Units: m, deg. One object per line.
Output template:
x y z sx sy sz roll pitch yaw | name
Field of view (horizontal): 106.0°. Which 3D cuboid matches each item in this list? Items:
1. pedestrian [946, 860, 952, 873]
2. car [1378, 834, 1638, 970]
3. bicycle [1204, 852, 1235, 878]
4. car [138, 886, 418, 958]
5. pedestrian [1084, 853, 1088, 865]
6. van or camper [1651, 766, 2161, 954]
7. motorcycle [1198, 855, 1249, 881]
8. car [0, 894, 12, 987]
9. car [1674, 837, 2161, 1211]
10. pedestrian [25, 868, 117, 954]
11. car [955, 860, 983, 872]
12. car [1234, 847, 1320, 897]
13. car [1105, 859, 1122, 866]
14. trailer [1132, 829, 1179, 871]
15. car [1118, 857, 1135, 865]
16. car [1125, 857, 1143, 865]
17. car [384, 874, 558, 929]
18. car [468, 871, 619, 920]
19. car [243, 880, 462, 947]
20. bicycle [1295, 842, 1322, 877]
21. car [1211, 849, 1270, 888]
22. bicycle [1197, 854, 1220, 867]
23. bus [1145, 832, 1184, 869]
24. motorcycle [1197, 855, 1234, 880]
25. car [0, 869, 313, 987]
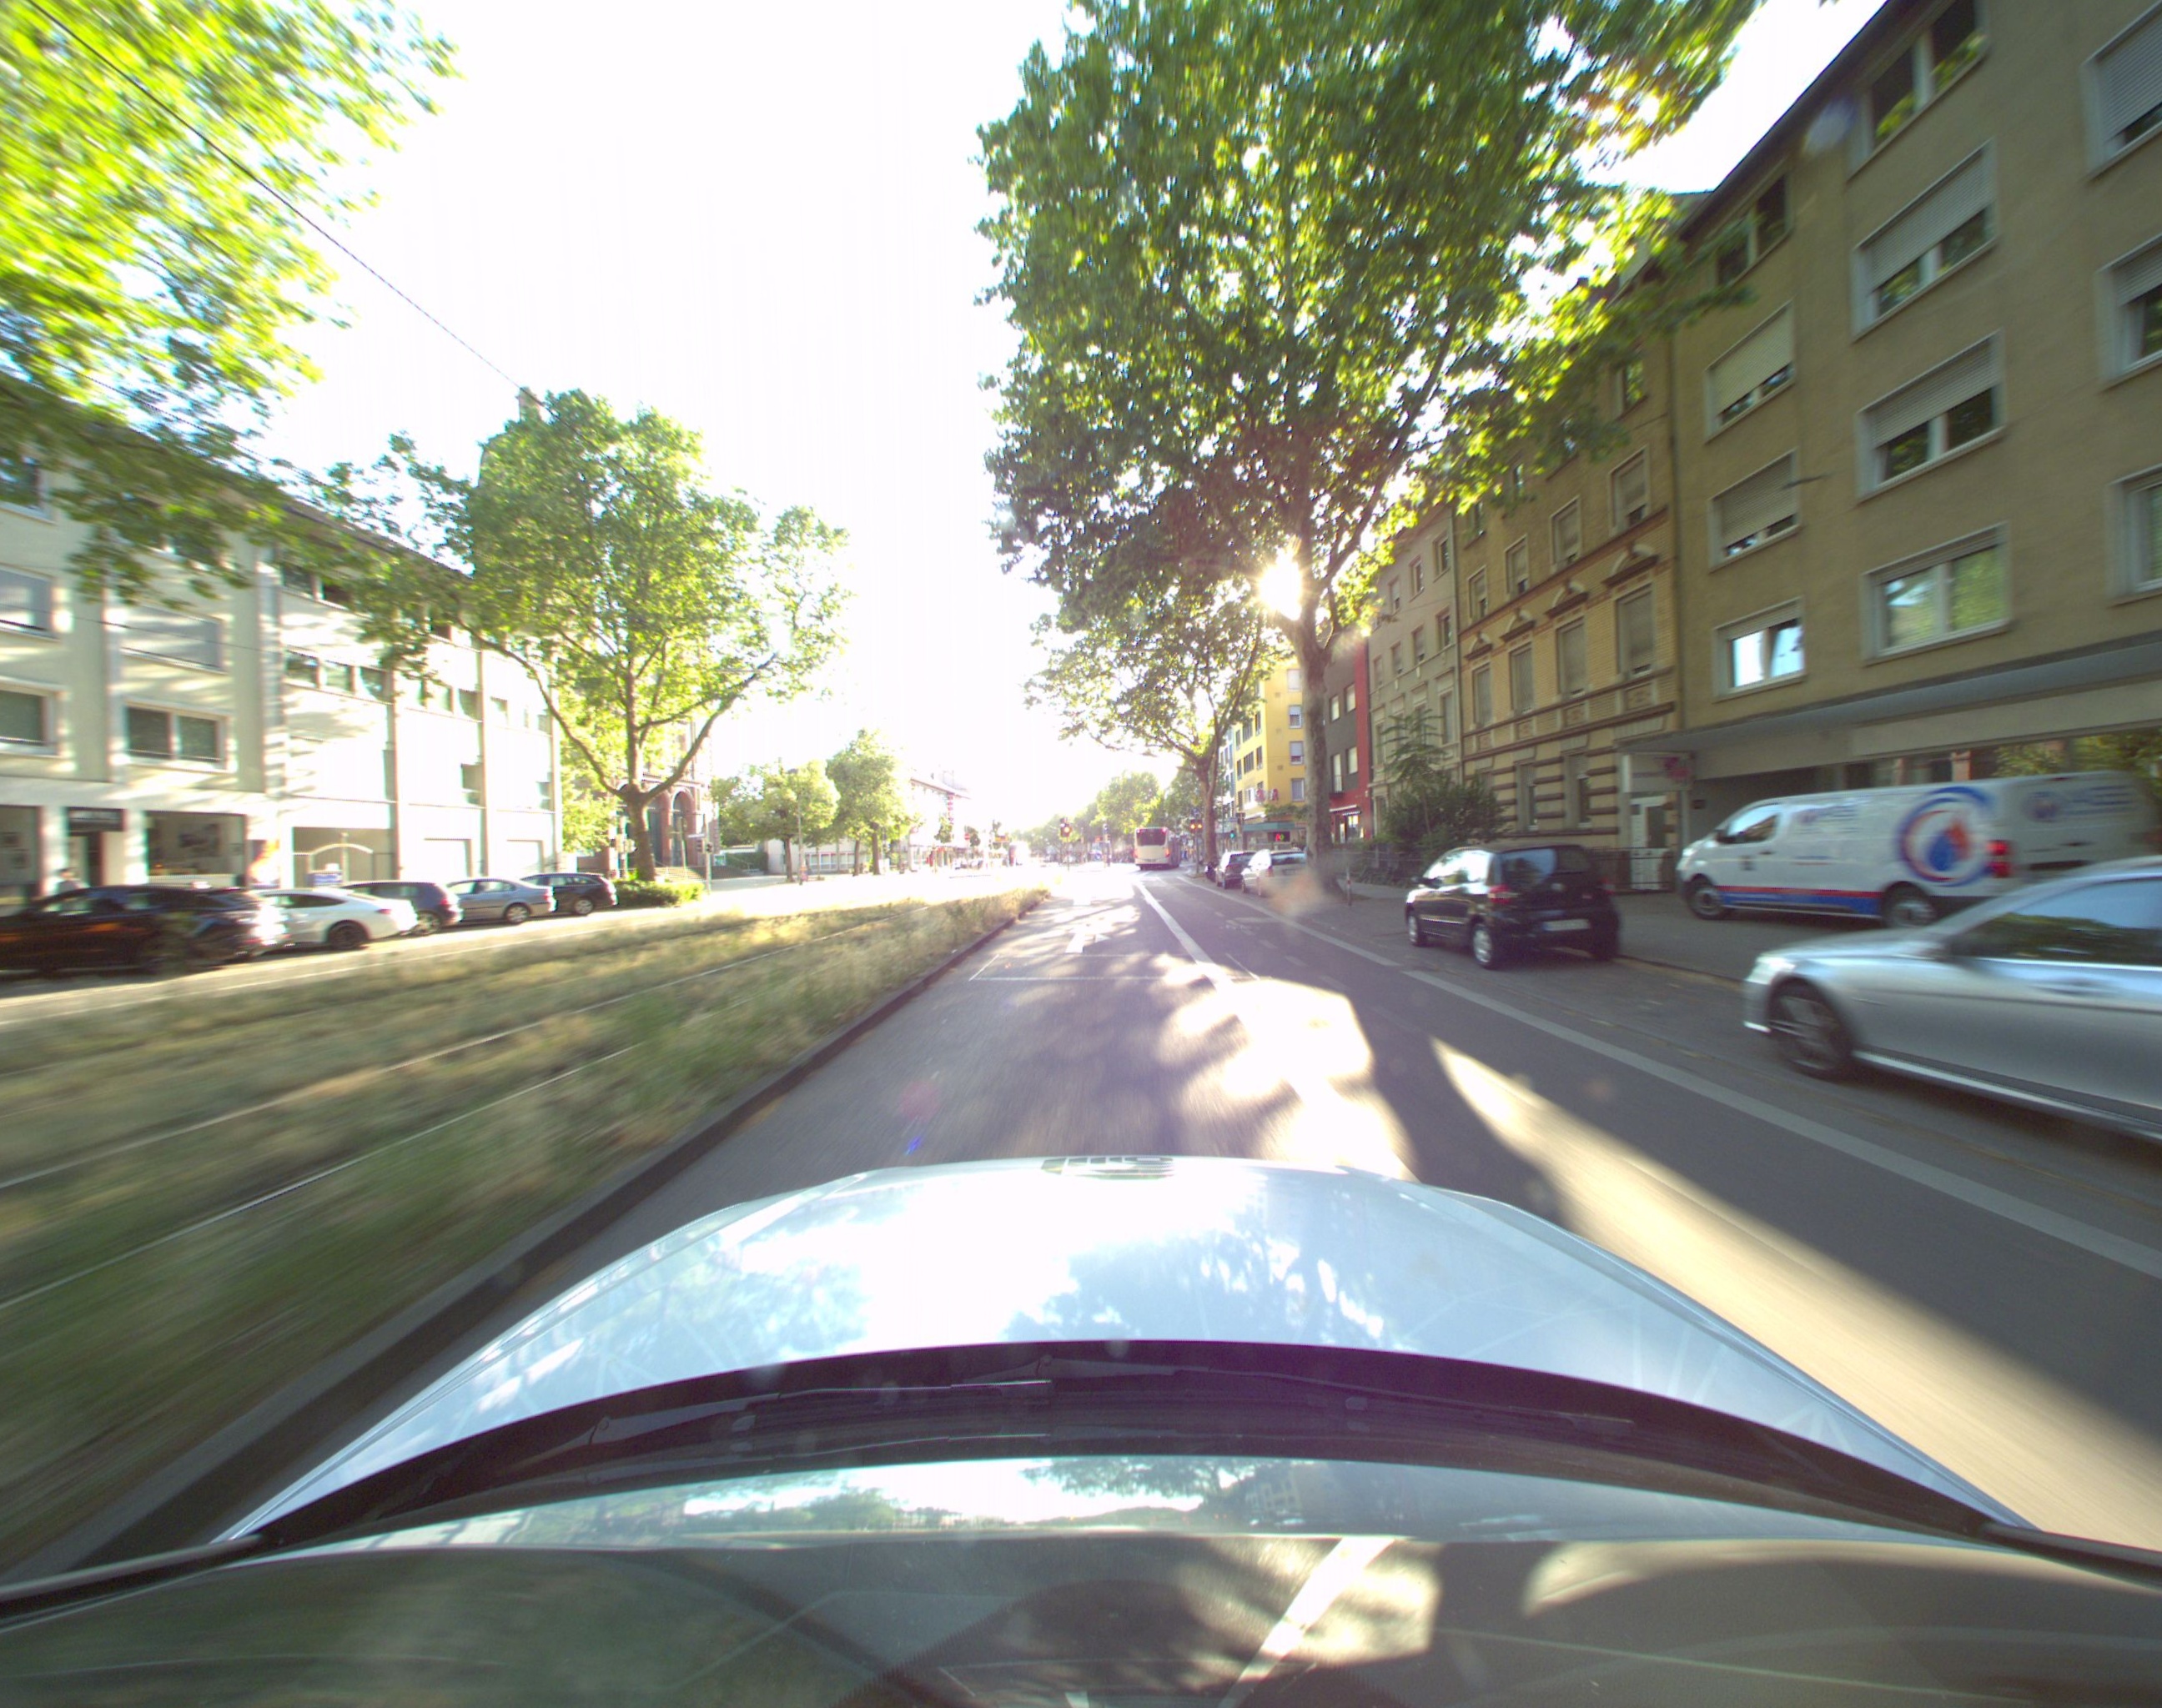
-20.694 1.904 127.757 0.706 2.013 0.949 -2 0 2 | pedestrian
5.784 0.564 11.642 1.647 1.545 4.001 -2 0 1 | car
7.077 0.565 41.592 0.687 1.203 1.859 0 4 41 | bicycle
-17.779 1.445 18.370 4.222 1.333 1.704 1 0 -34 | car
0.374 0.387 62.237 0.290 0.875 0.344 0 0 0 | pedestrian
10.737 0.052 11.283 1.935 1.922 5.393 -2 0 1 | van or camper
6.647 0.663 38.048 2.213 1.063 0.762 -4 1 -20 | motorcycle
-18.954 1.371 11.708 3.998 1.479 1.766 0 0 -19 | car
5.385 0.703 3.891 1.688 1.542 4.778 -2 0 1 | car
-23.380 1.297 18.878 0.897 1.900 0.951 -1 0 -2 | pedestrian
-17.807 1.854 129.225 4.005 1.816 1.984 -2 0 -24 | car
6.250 0.529 26.437 1.668 1.451 4.571 -2 0 0 | car
8.267 2.039 204.837 3.910 1.596 1.677 -2 0 -26 | car
5.945 -0.282 63.942 2.794 3.110 8.820 0 0 11 | trailer
11.202 1.713 200.316 3.910 1.699 1.817 -2 0 -26 | car
12.870 1.657 197.155 3.910 1.699 1.817 -2 0 -26 | car
-18.082 1.359 24.263 4.019 1.441 1.702 1 0 -39 | car
-18.015 1.325 27.380 4.021 1.479 1.796 1 0 -41 | car
-18.427 1.435 20.831 4.021 1.441 1.781 1 0 -41 | car
9.598 0.243 34.460 0.604 1.426 2.398 0 0 3 | bicycle
6.324 0.539 32.707 1.703 1.396 4.325 -2 0 3 | car
10.865 0.517 69.405 1.766 1.021 0.695 -3 0 2 | bicycle
7.584 -0.262 72.772 2.795 3.101 9.119 0 0 10 | bus
6.647 0.643 40.226 2.009 1.152 0.594 -2 0 -40 | motorcycle
-17.657 1.319 15.177 4.370 1.786 1.978 -4 0 -24 | car
